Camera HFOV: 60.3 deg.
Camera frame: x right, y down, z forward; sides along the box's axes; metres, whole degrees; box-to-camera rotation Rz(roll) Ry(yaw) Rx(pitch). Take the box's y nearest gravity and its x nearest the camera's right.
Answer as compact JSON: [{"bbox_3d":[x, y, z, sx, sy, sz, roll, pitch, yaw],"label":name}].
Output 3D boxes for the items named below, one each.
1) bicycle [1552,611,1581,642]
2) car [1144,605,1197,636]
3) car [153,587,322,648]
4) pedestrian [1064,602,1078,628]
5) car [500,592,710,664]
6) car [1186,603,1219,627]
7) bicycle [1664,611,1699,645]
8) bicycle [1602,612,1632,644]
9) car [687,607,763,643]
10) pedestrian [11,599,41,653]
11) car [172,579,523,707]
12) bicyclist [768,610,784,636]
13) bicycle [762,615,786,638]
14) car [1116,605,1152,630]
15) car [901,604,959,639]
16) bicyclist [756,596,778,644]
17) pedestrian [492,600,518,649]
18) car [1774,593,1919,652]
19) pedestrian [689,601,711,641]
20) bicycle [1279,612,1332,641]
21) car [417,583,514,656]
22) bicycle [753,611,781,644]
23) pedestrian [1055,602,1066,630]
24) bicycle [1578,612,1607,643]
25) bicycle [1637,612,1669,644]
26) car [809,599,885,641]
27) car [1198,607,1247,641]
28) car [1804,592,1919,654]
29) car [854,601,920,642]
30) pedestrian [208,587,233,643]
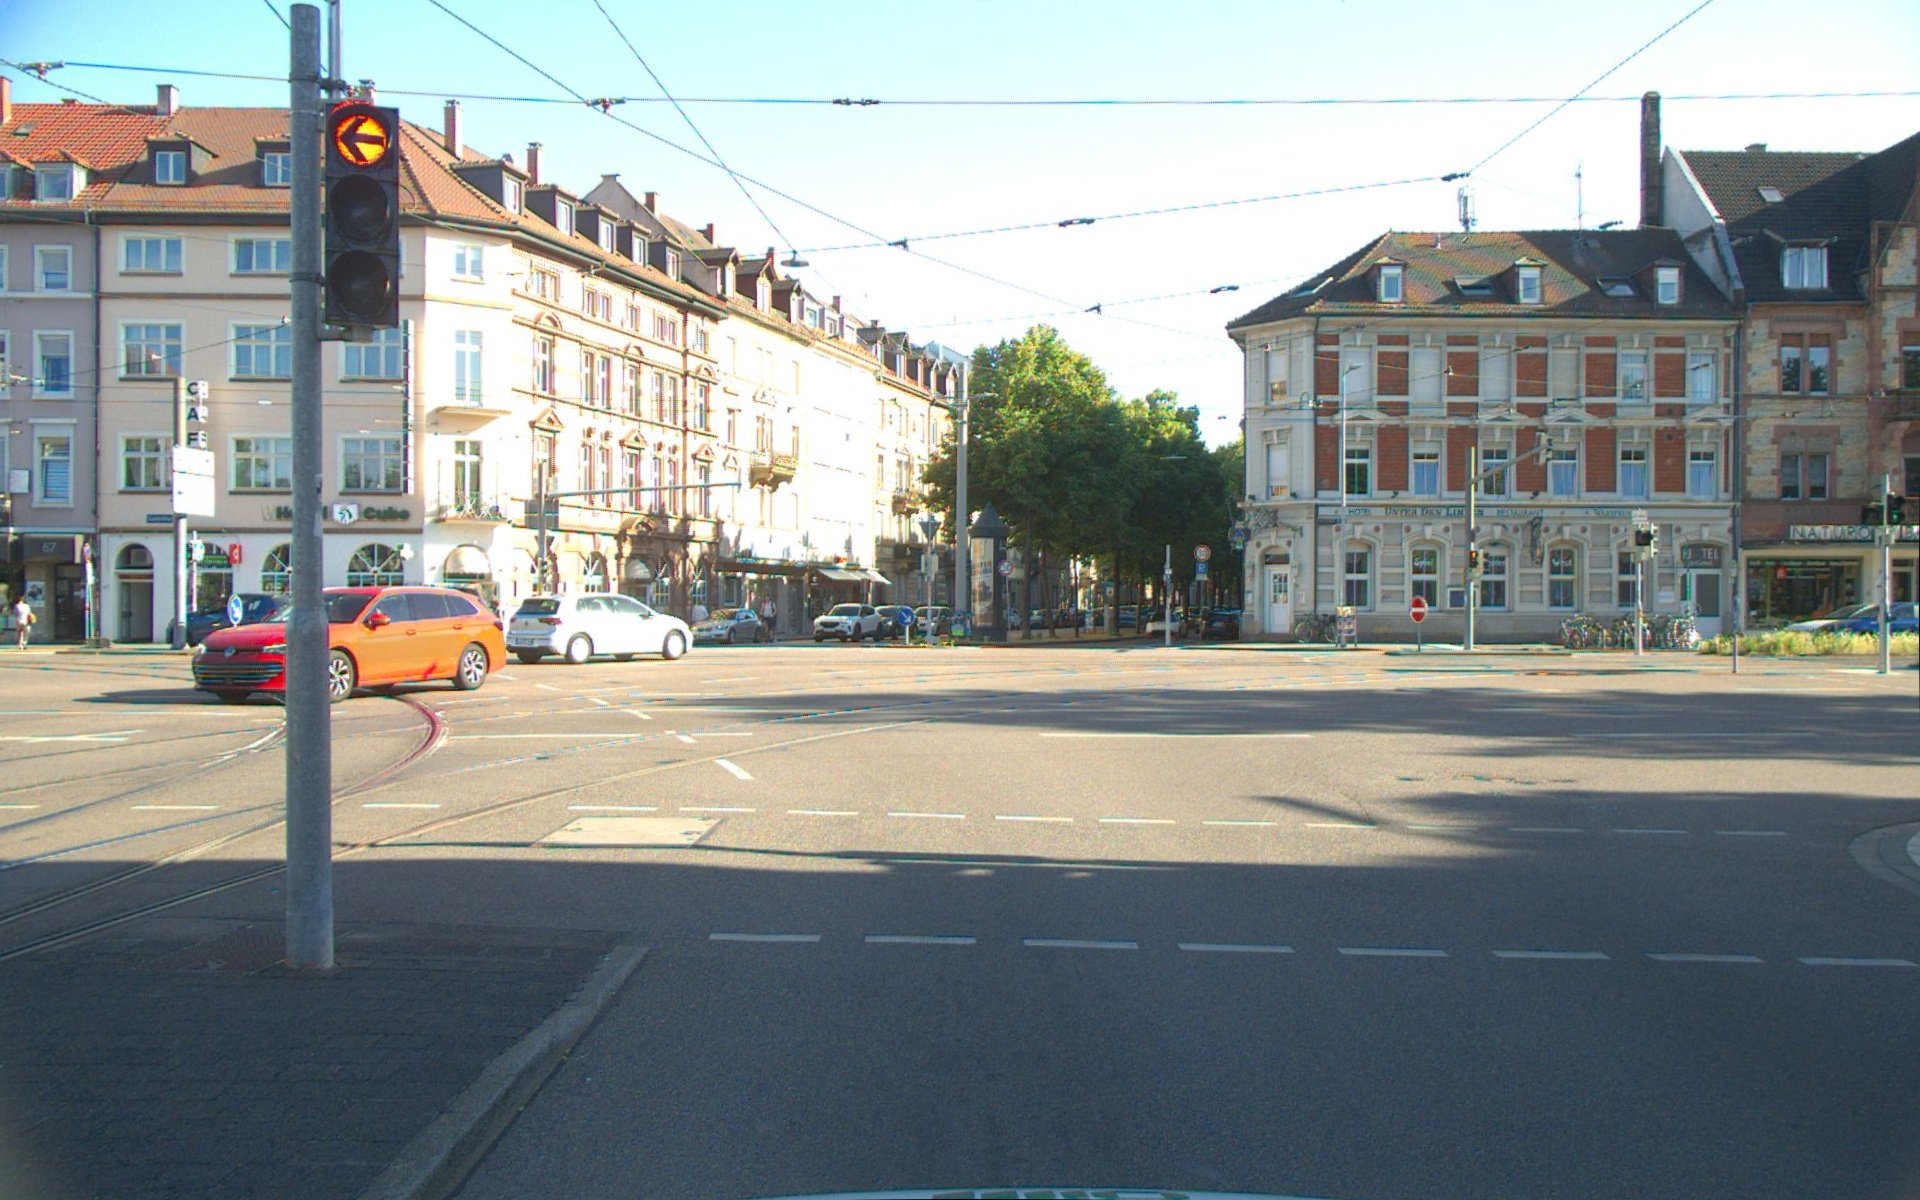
[{"bbox_3d":[19.803,0.870,54.036,0.749,0.979,2.211,1,0,17],"label":"bicycle"},{"bbox_3d":[11.128,1.061,87.297,1.853,1.479,4.009,0,1,21],"label":"car"},{"bbox_3d":[-19.396,0.442,44.453,3.823,1.530,1.792,0,2,12],"label":"car"},{"bbox_3d":[7.798,1.045,116.195,0.703,1.821,0.688,1,-1,-36],"label":"pedestrian"},{"bbox_3d":[-7.416,0.552,34.860,1.702,1.414,4.207,0,0,39],"label":"car"},{"bbox_3d":[15.201,0.906,103.544,1.786,1.428,4.003,0,0,12],"label":"car"},{"bbox_3d":[23.314,0.897,53.486,0.775,1.033,2.211,1,0,17],"label":"bicycle"},{"bbox_3d":[21.360,0.897,53.783,0.749,1.001,2.211,1,0,17],"label":"bicycle"},{"bbox_3d":[-9.467,0.986,66.888,1.624,1.398,3.894,1,0,14],"label":"car"},{"bbox_3d":[-29.257,0.814,51.805,0.572,1.677,0.616,1,-1,-1],"label":"pedestrian"},{"bbox_3d":[-8.088,0.483,22.423,1.760,1.495,4.876,1,1,20],"label":"car"},{"bbox_3d":[-7.500,0.947,67.366,0.462,1.058,0.538,1,-1,14],"label":"bicyclist"},{"bbox_3d":[-7.543,1.073,67.184,0.462,0.938,1.453,1,0,14],"label":"bicycle"},{"bbox_3d":[12.285,1.256,116.694,1.951,1.713,4.003,1,0,15],"label":"car"},{"bbox_3d":[-1.404,1.038,79.470,1.764,1.603,3.893,1,0,15],"label":"car"},{"bbox_3d":[-7.579,0.783,64.907,0.553,1.835,0.915,1,-1,14],"label":"bicyclist"},{"bbox_3d":[-15.413,0.831,56.019,0.655,1.622,0.815,1,-1,-1],"label":"pedestrian"},{"bbox_3d":[26.599,0.673,49.156,3.905,1.650,1.804,1,0,0],"label":"car"},{"bbox_3d":[-10.979,0.903,69.963,0.556,1.671,0.792,1,-1,22],"label":"pedestrian"},{"bbox_3d":[11.974,0.916,57.287,1.764,0.979,0.604,1,0,14],"label":"bicycle"},{"bbox_3d":[-11.922,0.447,39.709,1.842,1.630,4.424,-1,0,-22],"label":"car"},{"bbox_3d":[-7.568,1.063,64.932,0.553,1.276,1.558,1,0,14],"label":"bicycle"},{"bbox_3d":[7.511,1.193,123.552,0.736,2.049,1.000,1,-1,7],"label":"pedestrian"},{"bbox_3d":[20.557,0.883,53.799,0.749,0.985,2.211,1,0,17],"label":"bicycle"},{"bbox_3d":[22.459,0.903,53.649,0.749,1.025,2.221,1,0,17],"label":"bicycle"},{"bbox_3d":[-4.553,0.817,67.172,1.764,1.613,4.162,1,0,16],"label":"car"},{"bbox_3d":[13.150,1.192,82.670,1.719,1.583,4.001,1,0,19],"label":"car"},{"bbox_3d":[25.915,0.647,46.032,3.905,1.650,1.804,1,0,0],"label":"car"},{"bbox_3d":[-3.214,0.944,73.530,1.786,1.715,3.877,1,0,16],"label":"car"},{"bbox_3d":[-22.487,0.451,50.282,0.512,1.677,0.497,1,-1,-1],"label":"pedestrian"}]
